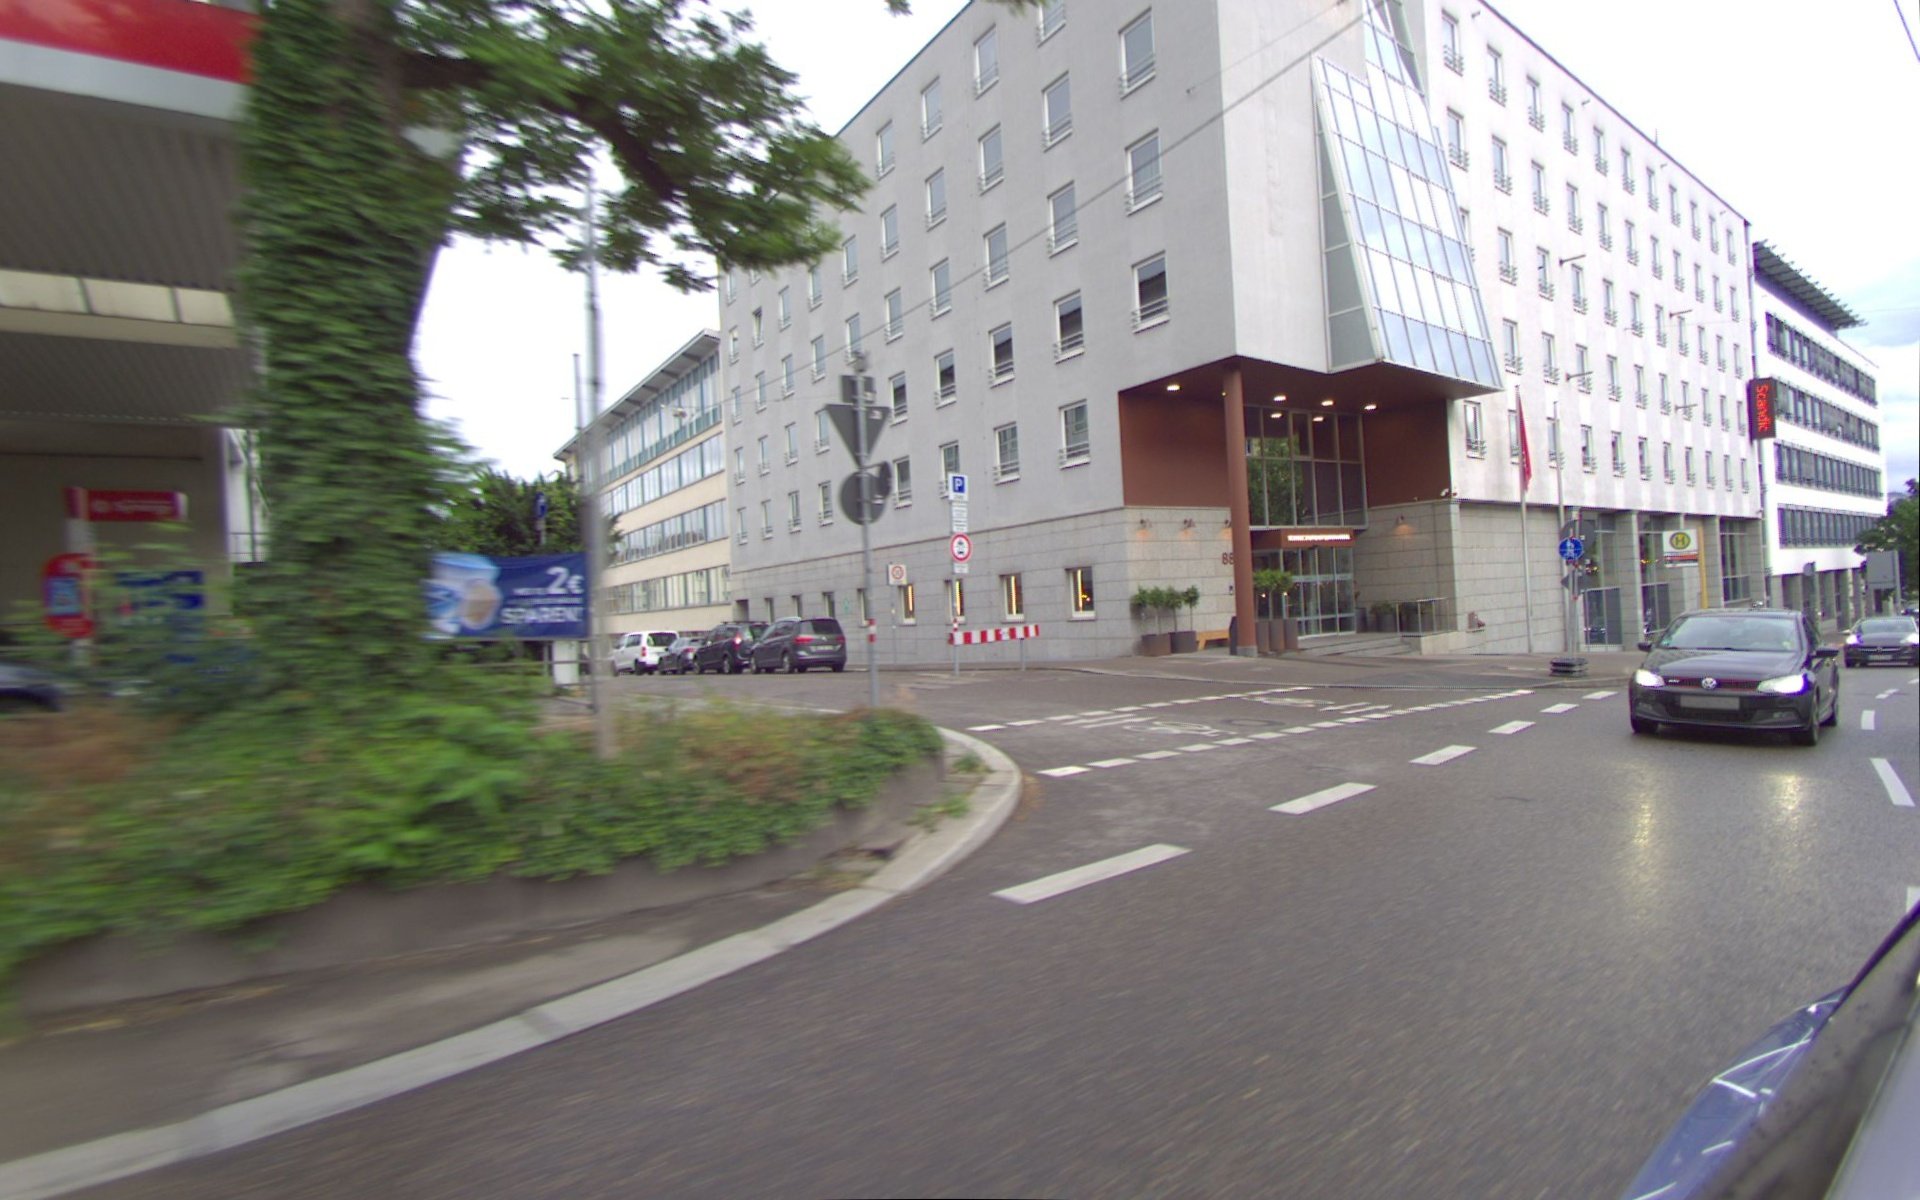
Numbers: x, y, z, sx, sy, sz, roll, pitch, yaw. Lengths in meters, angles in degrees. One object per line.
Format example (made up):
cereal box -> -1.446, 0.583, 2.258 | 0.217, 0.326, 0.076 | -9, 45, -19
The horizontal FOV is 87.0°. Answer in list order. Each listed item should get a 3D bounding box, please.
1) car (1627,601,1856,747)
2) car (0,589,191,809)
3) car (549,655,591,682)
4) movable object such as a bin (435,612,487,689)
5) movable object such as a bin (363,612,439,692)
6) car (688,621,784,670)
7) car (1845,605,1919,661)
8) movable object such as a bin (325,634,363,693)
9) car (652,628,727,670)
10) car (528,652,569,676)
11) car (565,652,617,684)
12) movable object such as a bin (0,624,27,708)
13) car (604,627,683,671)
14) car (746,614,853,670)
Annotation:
car -> 9.293, 0.733, 11.927 | 1.674, 1.417, 3.786 | 0, 0, 45
car -> -8.498, 0.761, 7.885 | 3.789, 1.644, 1.780 | -1, 0, -30
car -> -25.135, 4.424, 65.213 | 1.765, 1.530, 4.000 | -1, -3, -32
movable object such as a bin -> -10.654, 1.058, 21.605 | 0.896, 1.586, 0.766 | 0, -3, -33
movable object such as a bin -> -11.591, 1.063, 20.979 | 1.334, 1.586, 0.766 | 0, -2, -33
car -> -7.700, 1.585, 34.531 | 1.766, 1.530, 3.997 | 1, -4, -35
car -> 27.249, 0.912, 29.273 | 3.639, 1.460, 1.750 | -1, -4, -38
movable object such as a bin -> -12.503, 1.280, 20.551 | 0.648, 1.155, 0.454 | 0, -3, -33
car -> -10.513, 1.924, 39.189 | 1.764, 1.530, 4.001 | 0, -4, -31
car -> -29.247, 4.576, 71.886 | 1.766, 1.530, 4.498 | -1, -3, -34
car -> -20.178, 3.735, 55.280 | 1.765, 1.530, 4.500 | -2, -3, -32
movable object such as a bin -> -17.700, 1.150, 17.250 | 2.459, 1.444, 1.166 | 0, -2, -33
car -> -13.945, 2.169, 44.376 | 1.824, 1.815, 4.609 | 1, -4, -38
car -> -4.850, 1.270, 30.119 | 1.764, 1.530, 4.001 | 0, -4, -31
